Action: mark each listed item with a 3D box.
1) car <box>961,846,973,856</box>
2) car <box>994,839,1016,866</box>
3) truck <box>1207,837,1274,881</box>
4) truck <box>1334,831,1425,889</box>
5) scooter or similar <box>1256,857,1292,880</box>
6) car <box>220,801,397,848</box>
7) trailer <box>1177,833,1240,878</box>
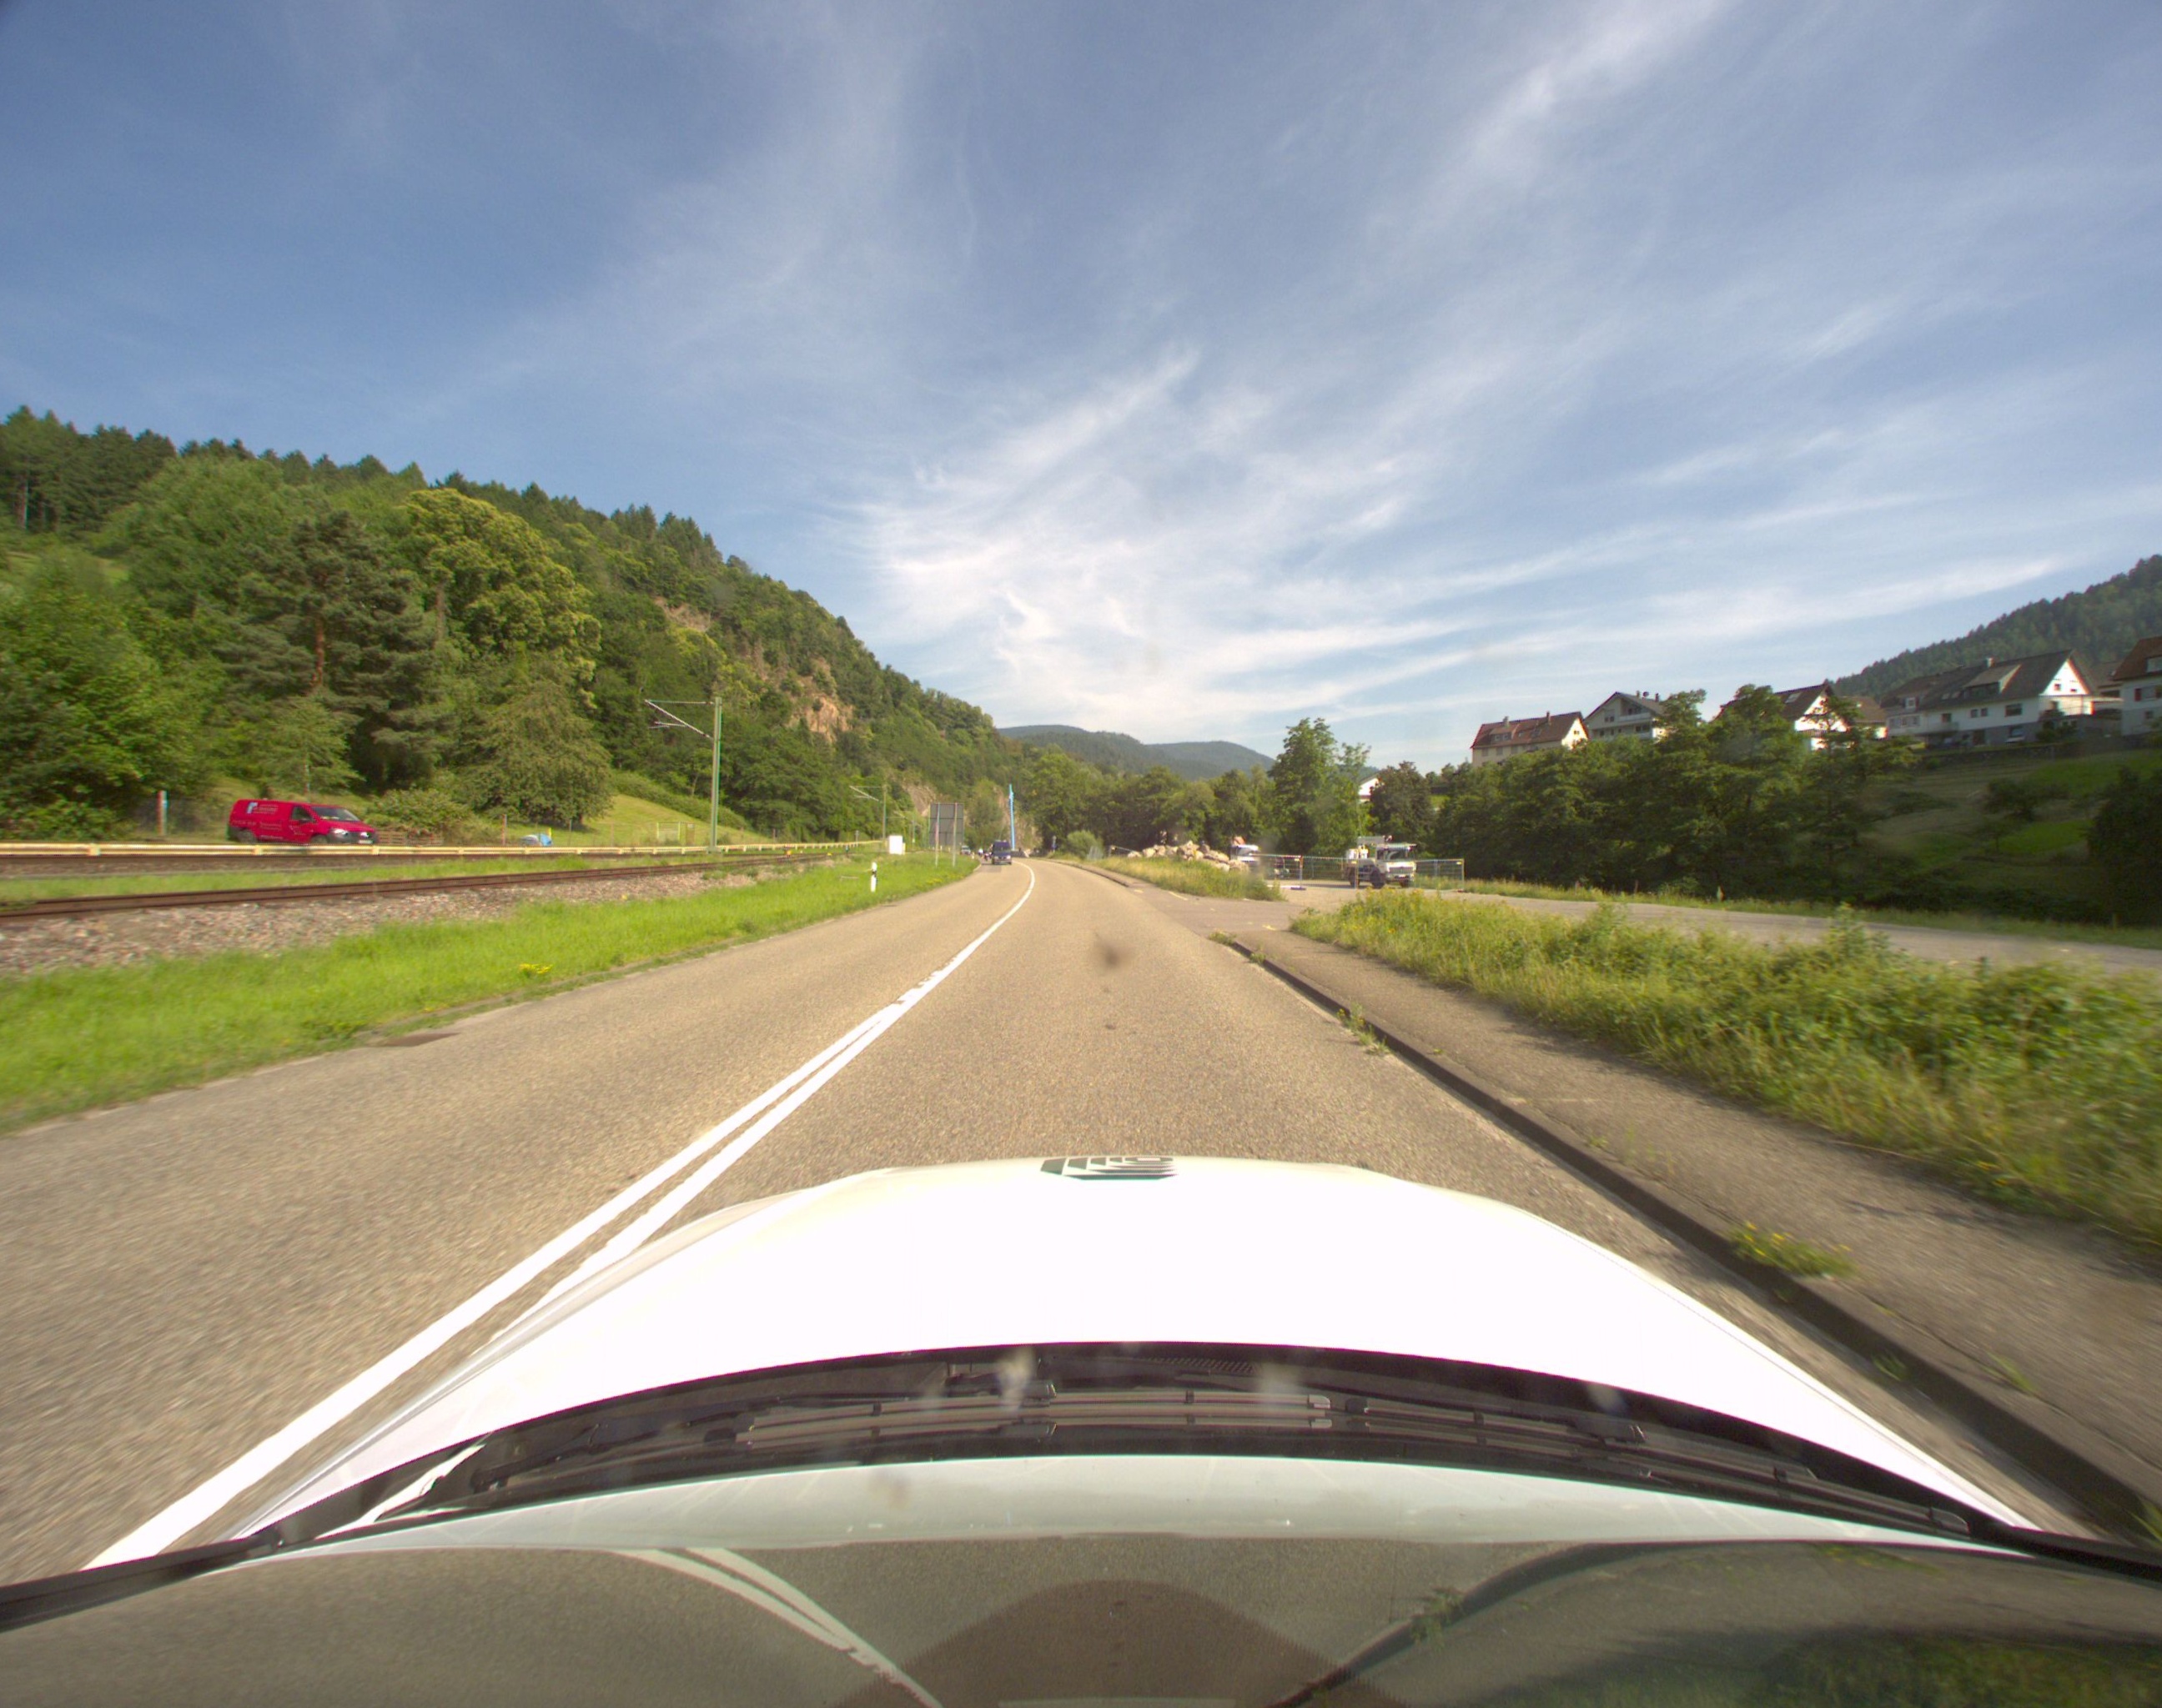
[{"bbox_3d":[-22.009,-0.596,157.532,1.872,1.781,4.579,0,1,-13],"label":"car"},{"bbox_3d":[-7.968,-0.173,85.361,2.123,2.615,5.471,-1,0,-4],"label":"car"},{"bbox_3d":[14.562,0.412,75.315,3.104,3.782,8.614,2,0,-10],"label":"truck"},{"bbox_3d":[21.211,0.420,58.520,3.095,3.782,8.639,2,0,-2],"label":"truck"},{"bbox_3d":[17.635,1.301,74.534,1.992,2.013,3.990,0,0,-7],"label":"scooter or similar"},{"bbox_3d":[-31.114,-1.150,32.921,4.940,1.691,2.459,1,-1,5],"label":"car"},{"bbox_3d":[13.067,0.196,84.419,3.365,4.274,9.874,2,-1,-10],"label":"trailer"}]
